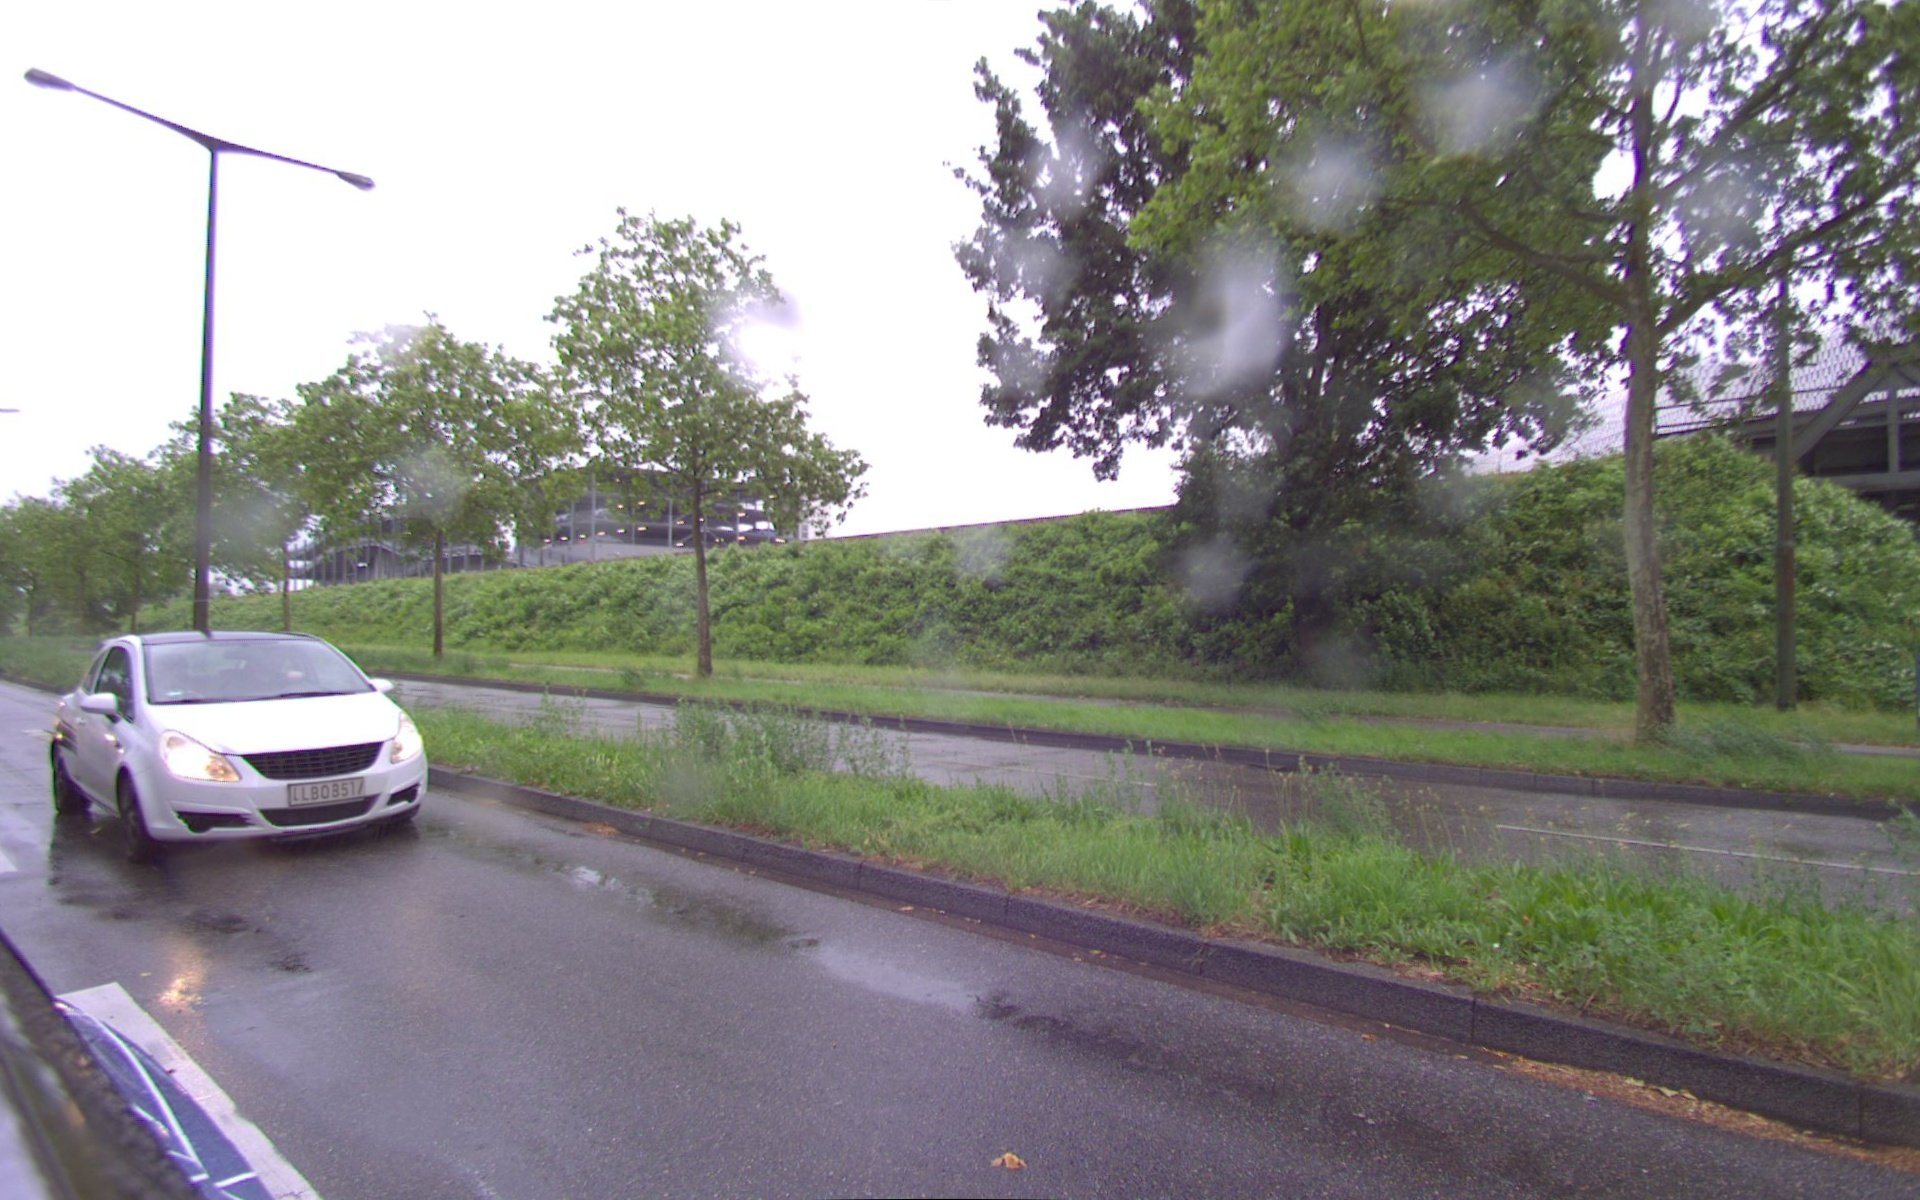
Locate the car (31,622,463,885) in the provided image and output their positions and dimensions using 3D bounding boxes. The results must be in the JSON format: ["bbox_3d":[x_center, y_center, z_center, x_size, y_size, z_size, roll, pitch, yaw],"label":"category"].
[{"bbox_3d":[-5.400,0.895,7.462,4.008,1.387,1.661,-2,-1,40],"label":"car"}]
